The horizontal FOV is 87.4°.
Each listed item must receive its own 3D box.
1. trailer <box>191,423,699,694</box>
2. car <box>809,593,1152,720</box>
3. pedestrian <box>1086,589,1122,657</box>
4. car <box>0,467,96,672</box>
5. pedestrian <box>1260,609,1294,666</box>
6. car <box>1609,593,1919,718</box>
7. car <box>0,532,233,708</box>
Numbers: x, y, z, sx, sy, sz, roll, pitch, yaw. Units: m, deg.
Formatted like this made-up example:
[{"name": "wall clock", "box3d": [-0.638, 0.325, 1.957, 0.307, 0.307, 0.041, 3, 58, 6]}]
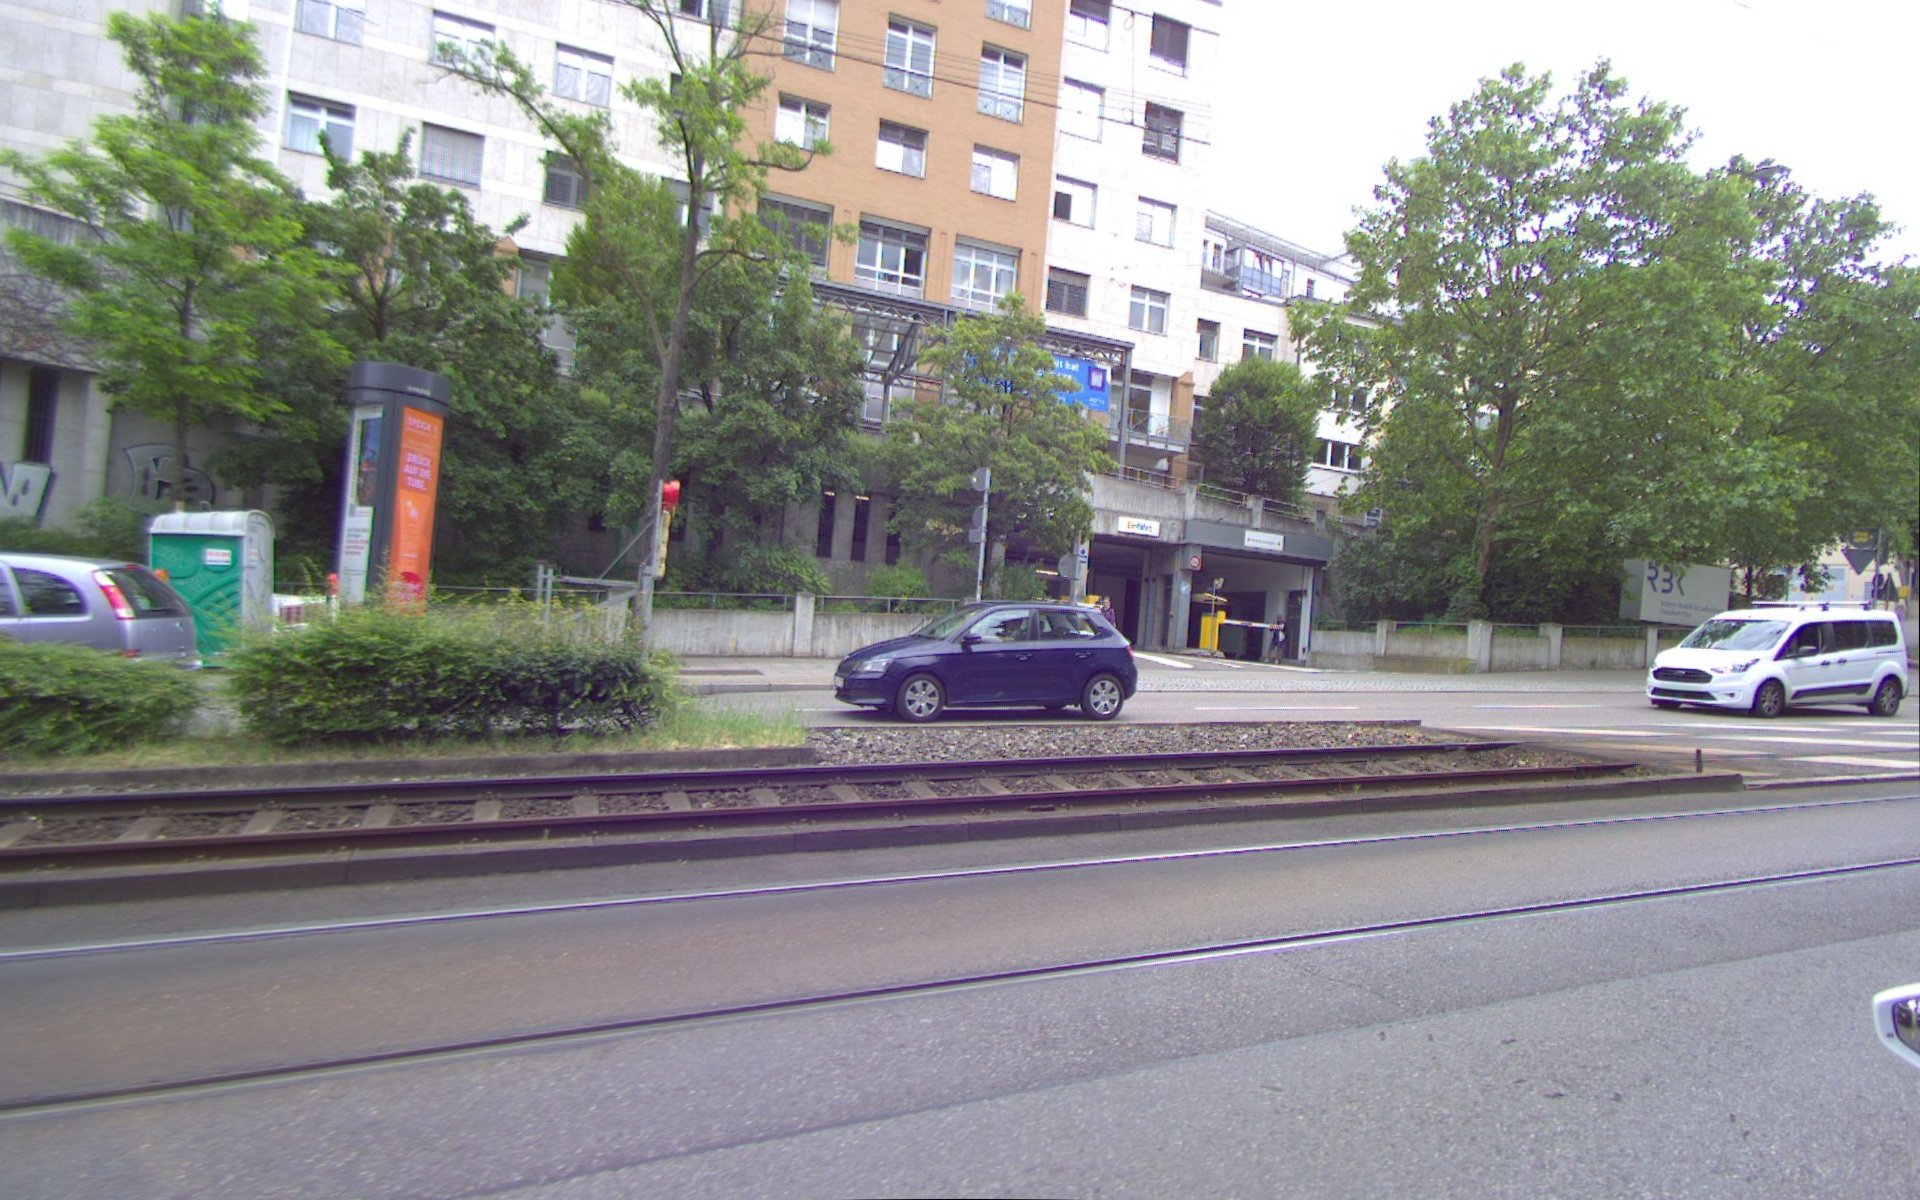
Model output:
[{"name": "trailer", "box3d": [-6.349, -0.413, 13.196, 5.499, 3.013, 2.018, 2, 1, -17]}, {"name": "car", "box3d": [0.250, 0.710, 12.899, 4.022, 1.426, 1.763, 2, -1, -22]}, {"name": "pedestrian", "box3d": [3.406, 0.538, 23.808, 0.645, 1.581, 0.729, 2, -1, -7]}, {"name": "car", "box3d": [-15.428, -0.480, 12.791, 6.241, 2.628, 2.153, 2, -1, -21]}, {"name": "pedestrian", "box3d": [10.966, 1.299, 34.740, 0.781, 1.936, 0.811, 2, -1, -18]}, {"name": "car", "box3d": [14.097, 0.941, 17.608, 4.925, 1.972, 1.945, 2, 0, -19]}, {"name": "car", "box3d": [-8.940, 0.150, 8.876, 3.681, 1.462, 1.658, 2, -1, -18]}]
